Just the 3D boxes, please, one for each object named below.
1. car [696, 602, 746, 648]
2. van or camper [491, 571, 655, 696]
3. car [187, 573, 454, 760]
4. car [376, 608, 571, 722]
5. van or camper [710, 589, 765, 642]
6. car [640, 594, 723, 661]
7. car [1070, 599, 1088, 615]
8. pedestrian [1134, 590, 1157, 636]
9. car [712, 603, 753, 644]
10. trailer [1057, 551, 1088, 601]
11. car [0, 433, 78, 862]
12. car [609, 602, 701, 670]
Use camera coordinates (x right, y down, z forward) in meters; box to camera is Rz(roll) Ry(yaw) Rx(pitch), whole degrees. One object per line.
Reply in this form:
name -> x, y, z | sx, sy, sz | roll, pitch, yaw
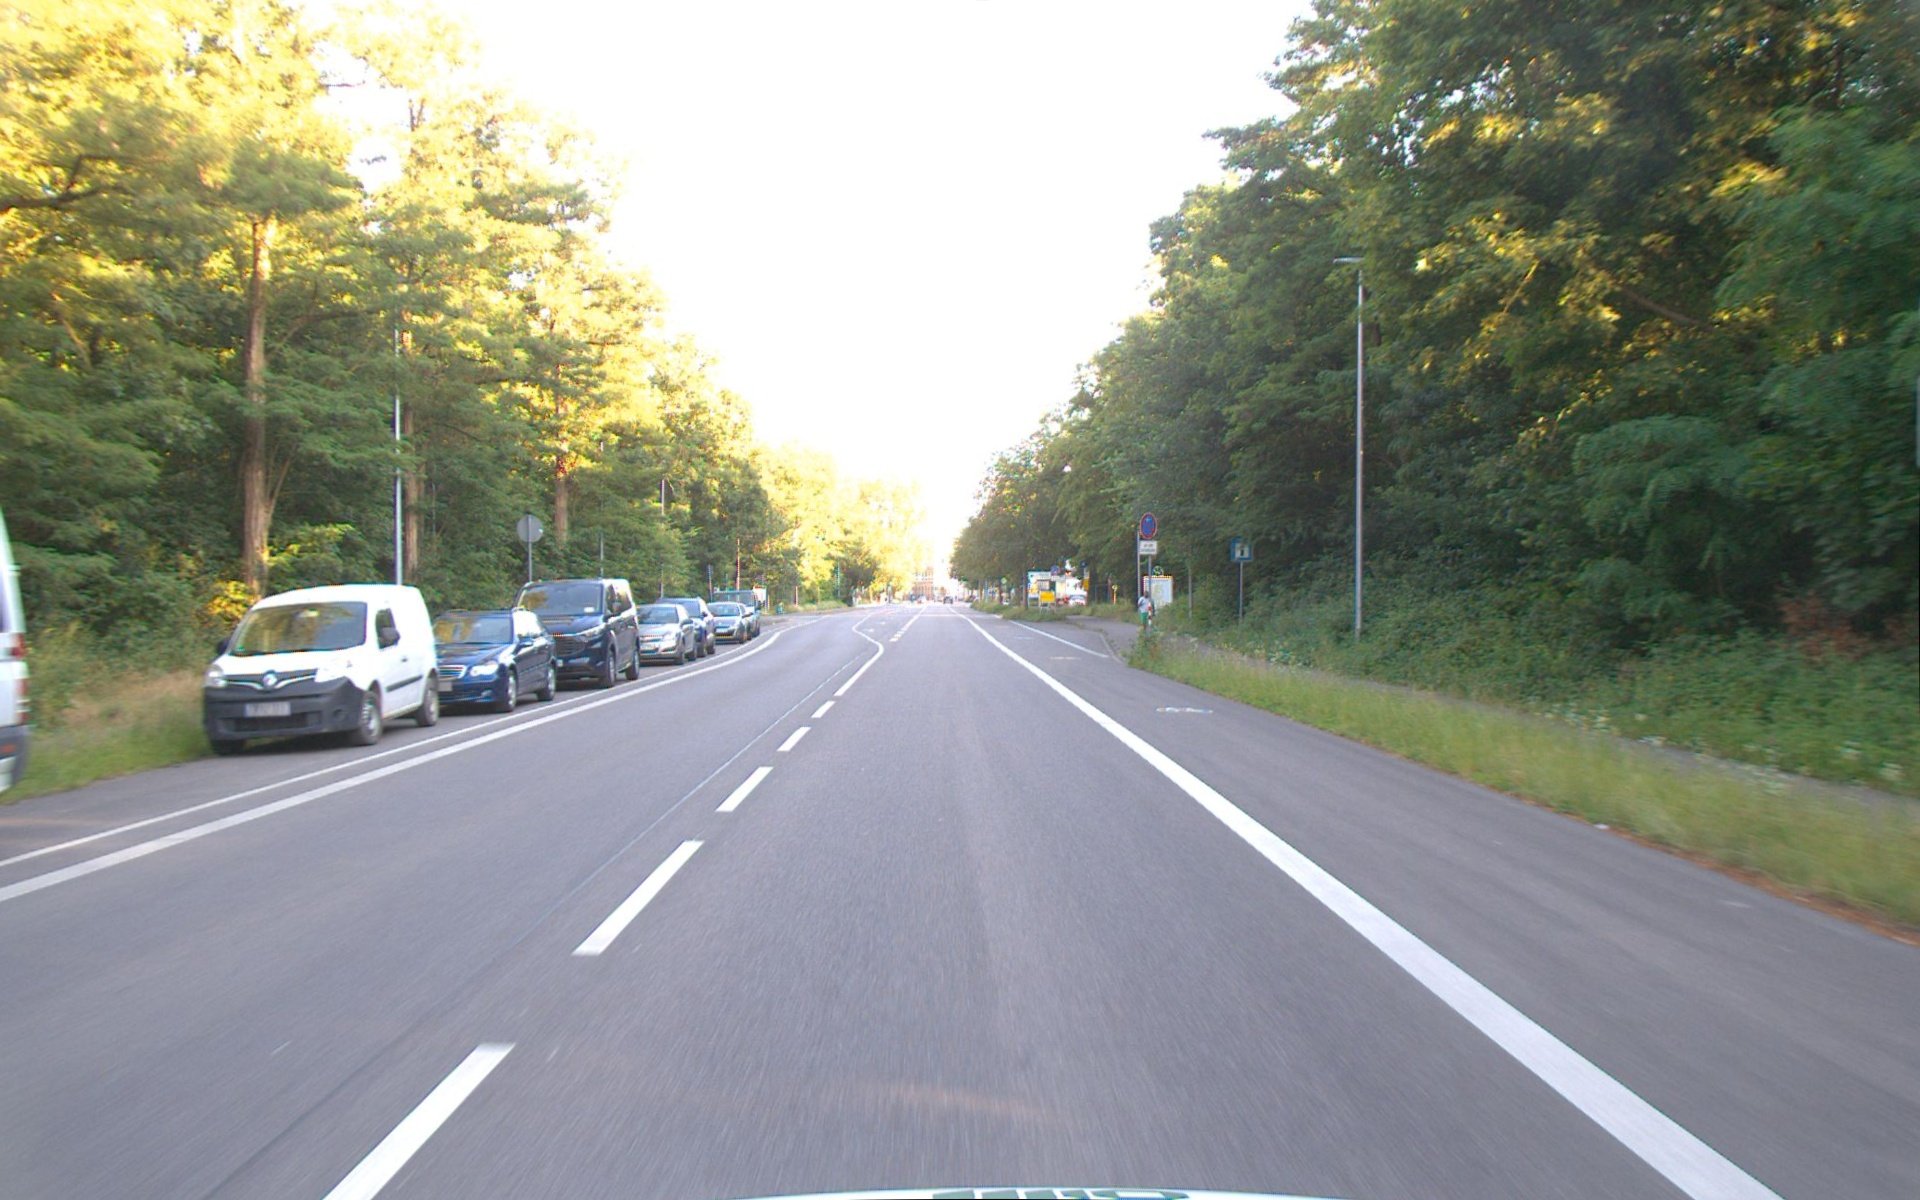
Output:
car -> -8.612, 0.871, 59.861 | 1.585, 1.561, 4.035 | -2, 0, -6
van or camper -> -7.178, 0.571, 31.255 | 1.963, 2.053, 5.458 | -3, 0, -3
car -> -7.459, 0.698, 19.756 | 1.654, 1.890, 4.384 | -3, 0, -4
car -> -7.183, 0.898, 24.877 | 1.636, 1.458, 4.446 | -2, 0, -1
van or camper -> -9.580, 0.642, 71.419 | 1.992, 2.130, 5.009 | -2, 0, -5
car -> -7.785, 0.737, 46.534 | 1.710, 1.742, 4.520 | -2, 0, -3
car -> 12.414, 0.730, 172.753 | 1.733, 1.611, 4.820 | 1, 0, 3
pedestrian -> 7.253, 0.498, 64.792 | 0.821, 1.782, 0.726 | 0, 0, 0
car -> -8.943, 0.907, 65.179 | 1.513, 1.519, 3.966 | -2, 0, -7
trailer -> 12.603, -2.645, 185.381 | 2.958, 5.557, 7.934 | 0, 0, 0
car -> -6.908, 0.343, 7.474 | 2.037, 2.651, 7.087 | -3, 0, -1
car -> -7.544, 0.852, 41.229 | 1.635, 1.527, 4.244 | -2, 0, -3
